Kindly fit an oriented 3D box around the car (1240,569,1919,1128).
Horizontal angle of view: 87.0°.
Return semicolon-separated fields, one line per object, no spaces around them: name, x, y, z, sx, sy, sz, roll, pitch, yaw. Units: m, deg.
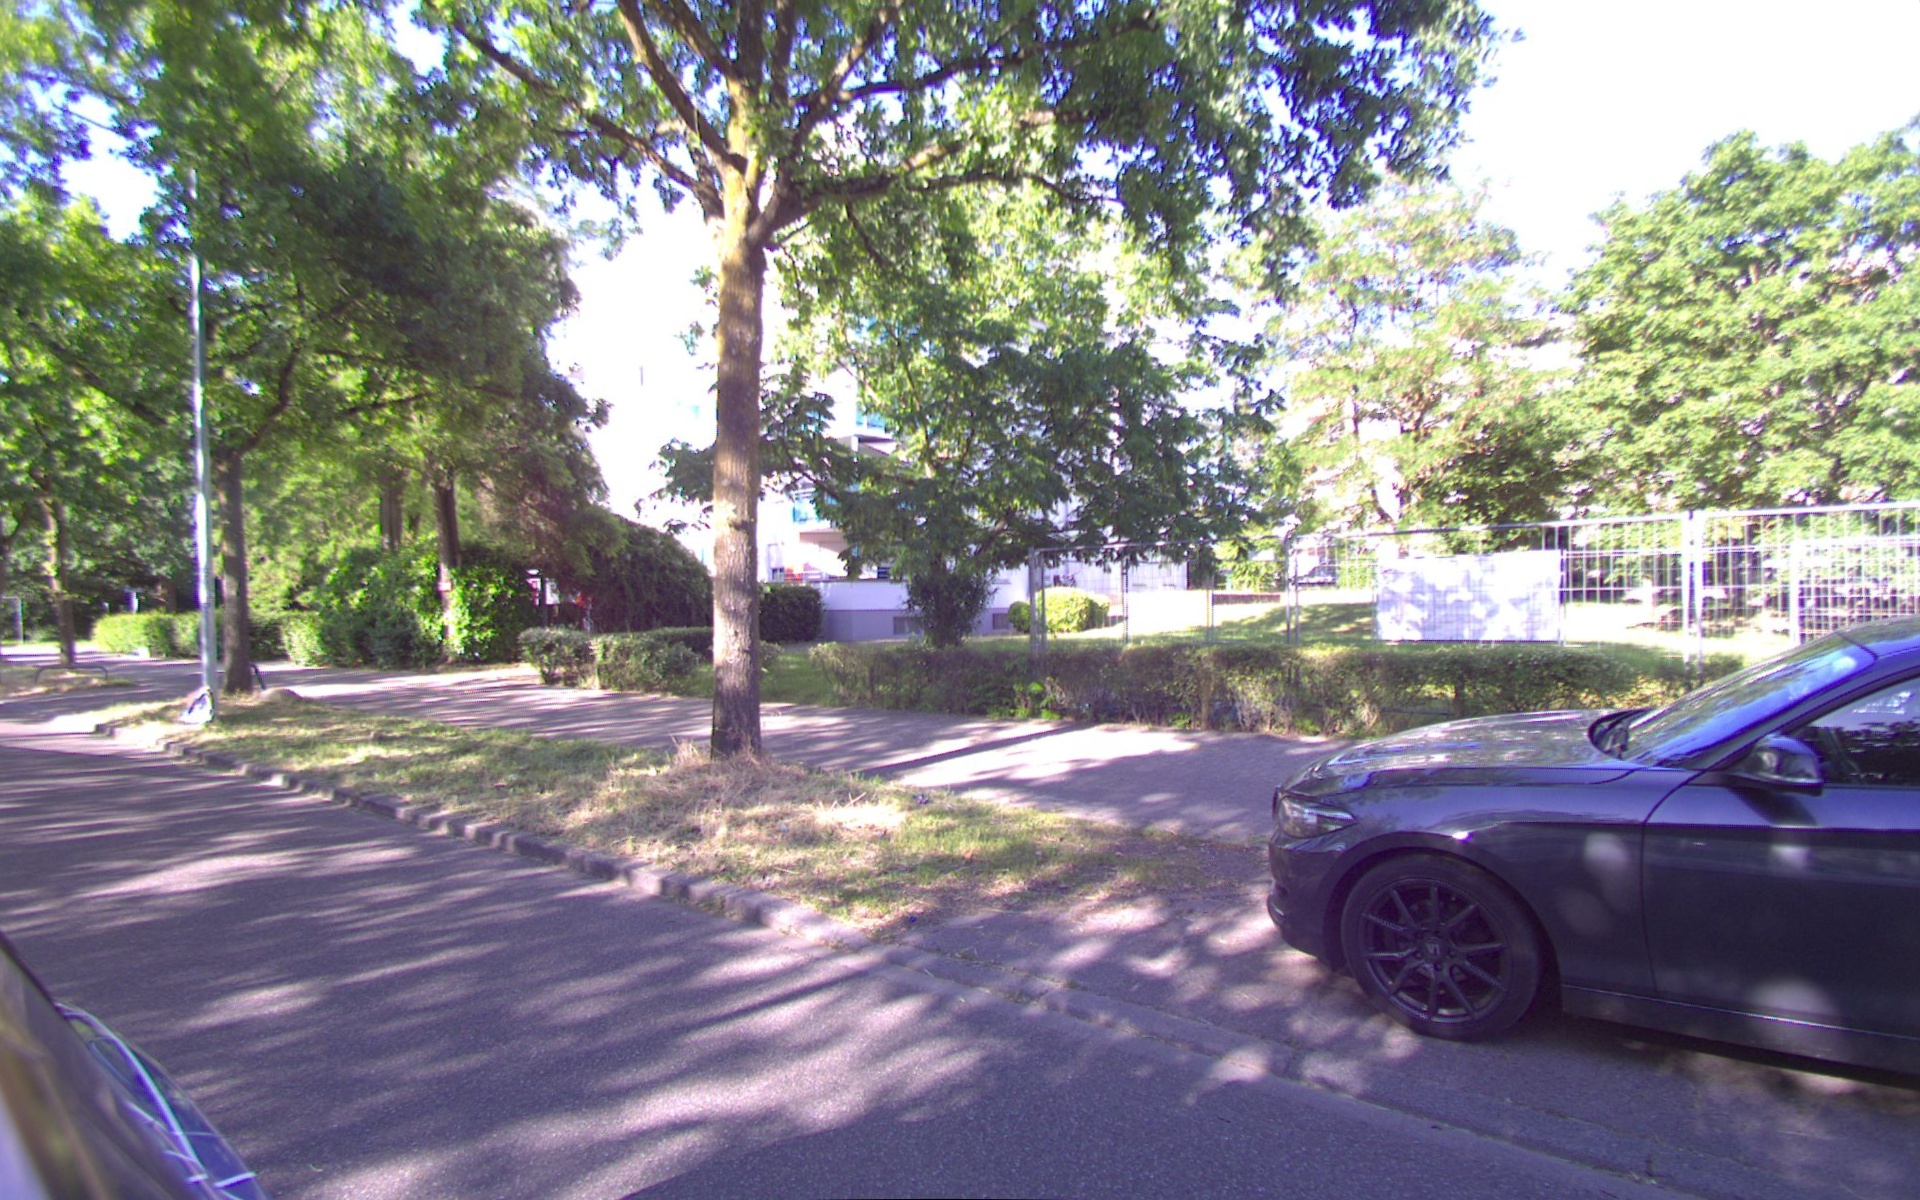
car;3.211;0.634;3.193;4.130;1.443;1.700;-2;1;37
